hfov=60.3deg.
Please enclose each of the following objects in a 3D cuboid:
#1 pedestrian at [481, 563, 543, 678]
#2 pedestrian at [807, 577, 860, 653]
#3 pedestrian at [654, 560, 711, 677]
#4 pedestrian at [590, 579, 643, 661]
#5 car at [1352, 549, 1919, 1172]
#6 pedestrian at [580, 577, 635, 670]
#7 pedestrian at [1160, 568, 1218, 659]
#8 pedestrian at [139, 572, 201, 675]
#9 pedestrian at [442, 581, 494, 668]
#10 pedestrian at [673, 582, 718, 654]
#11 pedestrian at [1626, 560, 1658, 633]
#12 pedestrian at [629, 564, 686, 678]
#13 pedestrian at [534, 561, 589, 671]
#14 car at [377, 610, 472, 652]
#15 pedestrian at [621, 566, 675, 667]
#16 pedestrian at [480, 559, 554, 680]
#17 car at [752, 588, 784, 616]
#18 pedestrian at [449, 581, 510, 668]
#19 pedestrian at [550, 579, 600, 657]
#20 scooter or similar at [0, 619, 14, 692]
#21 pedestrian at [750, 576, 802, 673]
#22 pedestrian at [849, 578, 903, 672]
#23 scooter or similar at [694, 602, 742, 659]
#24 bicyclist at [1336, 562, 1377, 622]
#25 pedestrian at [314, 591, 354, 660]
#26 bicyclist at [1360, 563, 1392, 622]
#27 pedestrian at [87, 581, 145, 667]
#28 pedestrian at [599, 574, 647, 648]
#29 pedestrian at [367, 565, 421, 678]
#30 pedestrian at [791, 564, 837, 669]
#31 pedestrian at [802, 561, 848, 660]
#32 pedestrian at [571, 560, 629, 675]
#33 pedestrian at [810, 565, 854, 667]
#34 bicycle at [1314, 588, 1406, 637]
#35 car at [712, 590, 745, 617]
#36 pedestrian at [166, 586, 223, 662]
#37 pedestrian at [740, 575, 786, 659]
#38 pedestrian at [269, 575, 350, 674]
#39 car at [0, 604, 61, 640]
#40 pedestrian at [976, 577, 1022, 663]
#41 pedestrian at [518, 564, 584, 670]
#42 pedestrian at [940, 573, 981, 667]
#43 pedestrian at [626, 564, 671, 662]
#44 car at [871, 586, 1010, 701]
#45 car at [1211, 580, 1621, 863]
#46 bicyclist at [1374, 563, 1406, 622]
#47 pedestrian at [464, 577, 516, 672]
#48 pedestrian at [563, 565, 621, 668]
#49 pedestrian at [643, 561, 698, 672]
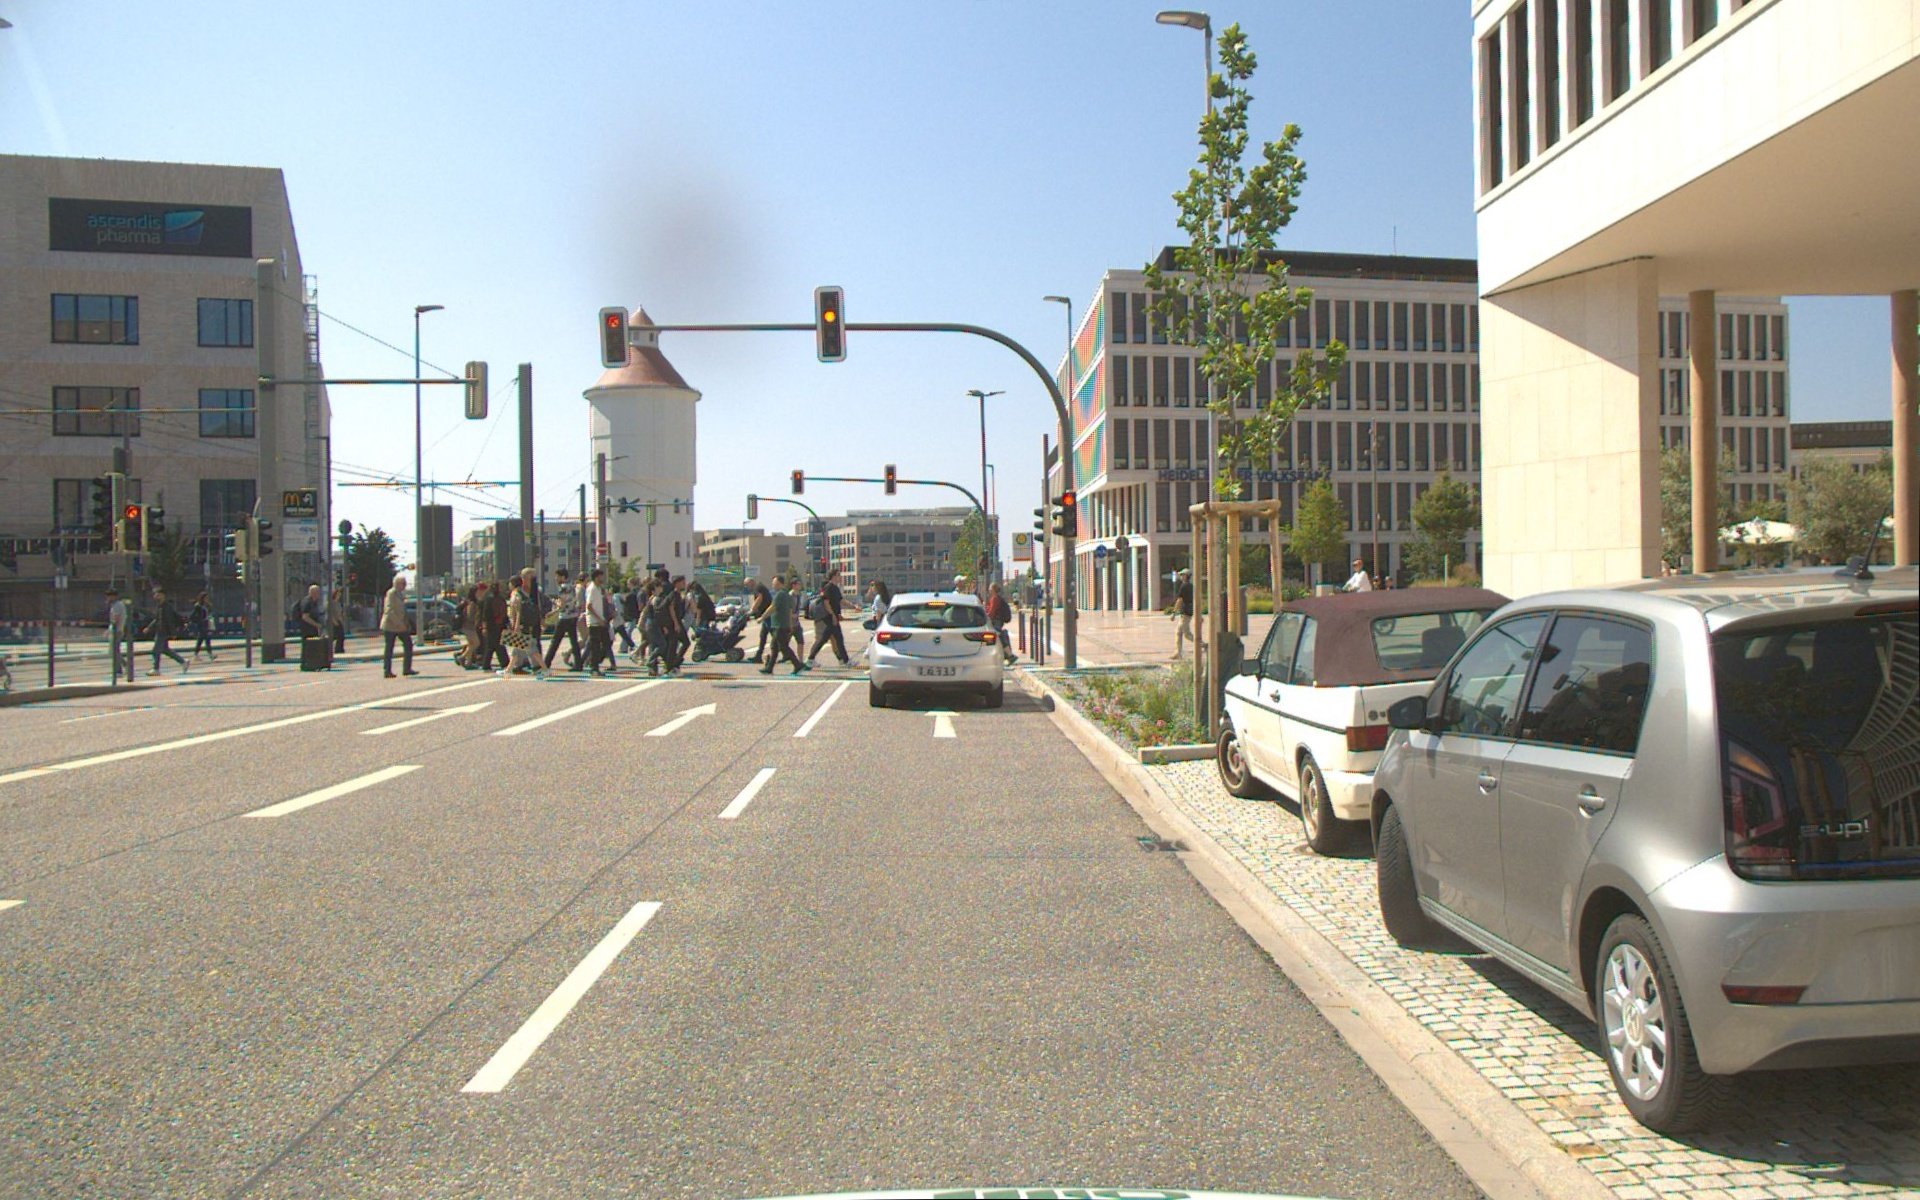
[{"bbox_3d":[-7.613,0.338,28.124,0.870,1.923,0.691,-1,0,-6],"label":"pedestrian"},{"bbox_3d":[-3.129,0.363,41.108,1.156,1.852,1.069,-1,0,3],"label":"pedestrian"},{"bbox_3d":[-4.678,0.308,27.906,0.870,1.923,0.691,-1,0,-6],"label":"pedestrian"},{"bbox_3d":[-7.190,0.414,34.640,0.869,1.675,0.797,-1,0,3],"label":"pedestrian"},{"bbox_3d":[2.600,0.603,5.786,1.524,1.498,3.469,-2,0,-1],"label":"car"},{"bbox_3d":[-6.460,0.421,30.361,0.777,1.675,0.891,-1,0,1],"label":"pedestrian"},{"bbox_3d":[4.330,0.252,31.301,0.970,1.684,0.692,-1,0,1],"label":"pedestrian"},{"bbox_3d":[-16.137,0.475,33.795,1.005,2.049,0.949,-1,0,-19],"label":"pedestrian"},{"bbox_3d":[-9.239,0.460,31.076,0.713,1.603,0.642,-1,0,4],"label":"pedestrian"},{"bbox_3d":[-6.268,0.414,39.204,0.869,1.675,0.797,-1,0,3],"label":"pedestrian"},{"bbox_3d":[19.222,-0.108,46.632,0.630,2.049,0.622,-1,0,-1],"label":"pedestrian"},{"bbox_3d":[-5.213,0.354,28.539,0.870,1.923,0.795,-1,0,-6],"label":"pedestrian"},{"bbox_3d":[-7.126,0.277,29.604,0.715,1.923,0.821,-1,0,5],"label":"pedestrian"},{"bbox_3d":[-23.995,1.397,74.205,3.873,1.848,1.792,0,-1,-13],"label":"car"},{"bbox_3d":[-6.032,0.313,31.993,0.870,1.923,0.796,-1,0,-1],"label":"pedestrian"},{"bbox_3d":[-7.241,0.311,27.051,0.993,1.923,0.798,-1,0,-4],"label":"pedestrian"},{"bbox_3d":[-11.070,0.140,95.508,1.555,1.557,3.691,0,-1,-2],"label":"car"},{"bbox_3d":[-9.437,0.469,32.510,0.891,1.665,0.814,-1,0,4],"label":"pedestrian"},{"bbox_3d":[-8.487,0.390,36.504,0.869,1.675,0.797,-1,0,3],"label":"pedestrian"},{"bbox_3d":[-14.526,0.834,24.545,0.494,1.077,0.833,-1,0,-1],"label":"scooter or similar"},{"bbox_3d":[-3.215,0.421,28.996,0.870,1.663,0.691,-1,0,-6],"label":"pedestrian"},{"bbox_3d":[-1.493,0.439,29.328,0.750,1.648,0.692,-1,0,16],"label":"pedestrian"},{"bbox_3d":[-4.967,0.616,33.911,0.933,1.137,0.765,-1,0,-11],"label":"scooter or similar"},{"bbox_3d":[9.385,-0.193,39.128,0.605,1.384,0.898,-1,0,-12],"label":"bicyclist"},{"bbox_3d":[-15.817,0.649,41.785,0.659,1.711,0.692,-1,0,40],"label":"pedestrian"},{"bbox_3d":[9.862,-0.185,39.240,0.352,1.384,0.911,-1,0,-12],"label":"bicyclist"},{"bbox_3d":[-17.161,0.474,33.637,0.880,1.703,1.007,-1,0,-19],"label":"pedestrian"},{"bbox_3d":[-7.770,0.257,38.150,0.869,1.675,0.797,-1,0,3],"label":"pedestrian"},{"bbox_3d":[-9.749,0.363,28.509,0.623,1.923,0.796,-1,0,0],"label":"pedestrian"},{"bbox_3d":[-2.717,0.293,30.863,0.750,1.923,0.692,-1,0,0],"label":"pedestrian"},{"bbox_3d":[-2.662,0.204,32.635,0.824,1.923,0.692,-1,0,0],"label":"pedestrian"},{"bbox_3d":[-6.135,0.292,28.223,0.870,1.923,0.691,-1,0,-6],"label":"pedestrian"},{"bbox_3d":[-2.461,0.305,31.833,0.750,1.923,0.692,-1,0,0],"label":"pedestrian"},{"bbox_3d":[9.457,0.288,39.140,1.927,1.102,0.902,-1,0,-13],"label":"bicycle"},{"bbox_3d":[-13.745,0.224,98.444,1.554,1.557,3.257,0,-1,-1],"label":"car"},{"bbox_3d":[-19.691,0.622,42.579,0.869,1.923,0.984,-1,0,19],"label":"pedestrian"},{"bbox_3d":[-4.074,0.342,34.102,0.872,1.675,0.794,-1,0,-11],"label":"pedestrian"},{"bbox_3d":[-13.084,0.486,33.310,1.145,1.923,1.060,-1,2,0],"label":"pedestrian"},{"bbox_3d":[-41.873,0.958,72.659,3.816,1.512,1.680,-1,0,-11],"label":"car"},{"bbox_3d":[0.779,0.396,33.113,0.869,1.675,0.797,-1,0,3],"label":"pedestrian"},{"bbox_3d":[-7.568,0.301,30.614,0.872,1.923,0.794,-1,0,35],"label":"pedestrian"},{"bbox_3d":[0.008,0.379,31.803,0.750,1.764,0.692,-1,0,0],"label":"pedestrian"},{"bbox_3d":[-6.230,0.262,33.106,0.719,1.923,0.714,1,0,4],"label":"pedestrian"},{"bbox_3d":[-0.220,0.573,22.552,1.735,1.419,3.532,1,-1,1],"label":"car"},{"bbox_3d":[2.632,0.606,10.430,1.400,1.414,3.999,-1,0,-1],"label":"car"},{"bbox_3d":[10.215,-0.185,39.320,0.352,1.384,0.899,-1,0,-12],"label":"bicyclist"},{"bbox_3d":[-8.308,0.430,29.276,0.620,1.646,0.768,-1,0,5],"label":"pedestrian"},{"bbox_3d":[-7.037,0.312,31.654,0.869,1.923,0.797,-1,0,4],"label":"pedestrian"},{"bbox_3d":[-5.134,0.281,29.369,0.870,1.923,0.795,-1,0,-6],"label":"pedestrian"}]
